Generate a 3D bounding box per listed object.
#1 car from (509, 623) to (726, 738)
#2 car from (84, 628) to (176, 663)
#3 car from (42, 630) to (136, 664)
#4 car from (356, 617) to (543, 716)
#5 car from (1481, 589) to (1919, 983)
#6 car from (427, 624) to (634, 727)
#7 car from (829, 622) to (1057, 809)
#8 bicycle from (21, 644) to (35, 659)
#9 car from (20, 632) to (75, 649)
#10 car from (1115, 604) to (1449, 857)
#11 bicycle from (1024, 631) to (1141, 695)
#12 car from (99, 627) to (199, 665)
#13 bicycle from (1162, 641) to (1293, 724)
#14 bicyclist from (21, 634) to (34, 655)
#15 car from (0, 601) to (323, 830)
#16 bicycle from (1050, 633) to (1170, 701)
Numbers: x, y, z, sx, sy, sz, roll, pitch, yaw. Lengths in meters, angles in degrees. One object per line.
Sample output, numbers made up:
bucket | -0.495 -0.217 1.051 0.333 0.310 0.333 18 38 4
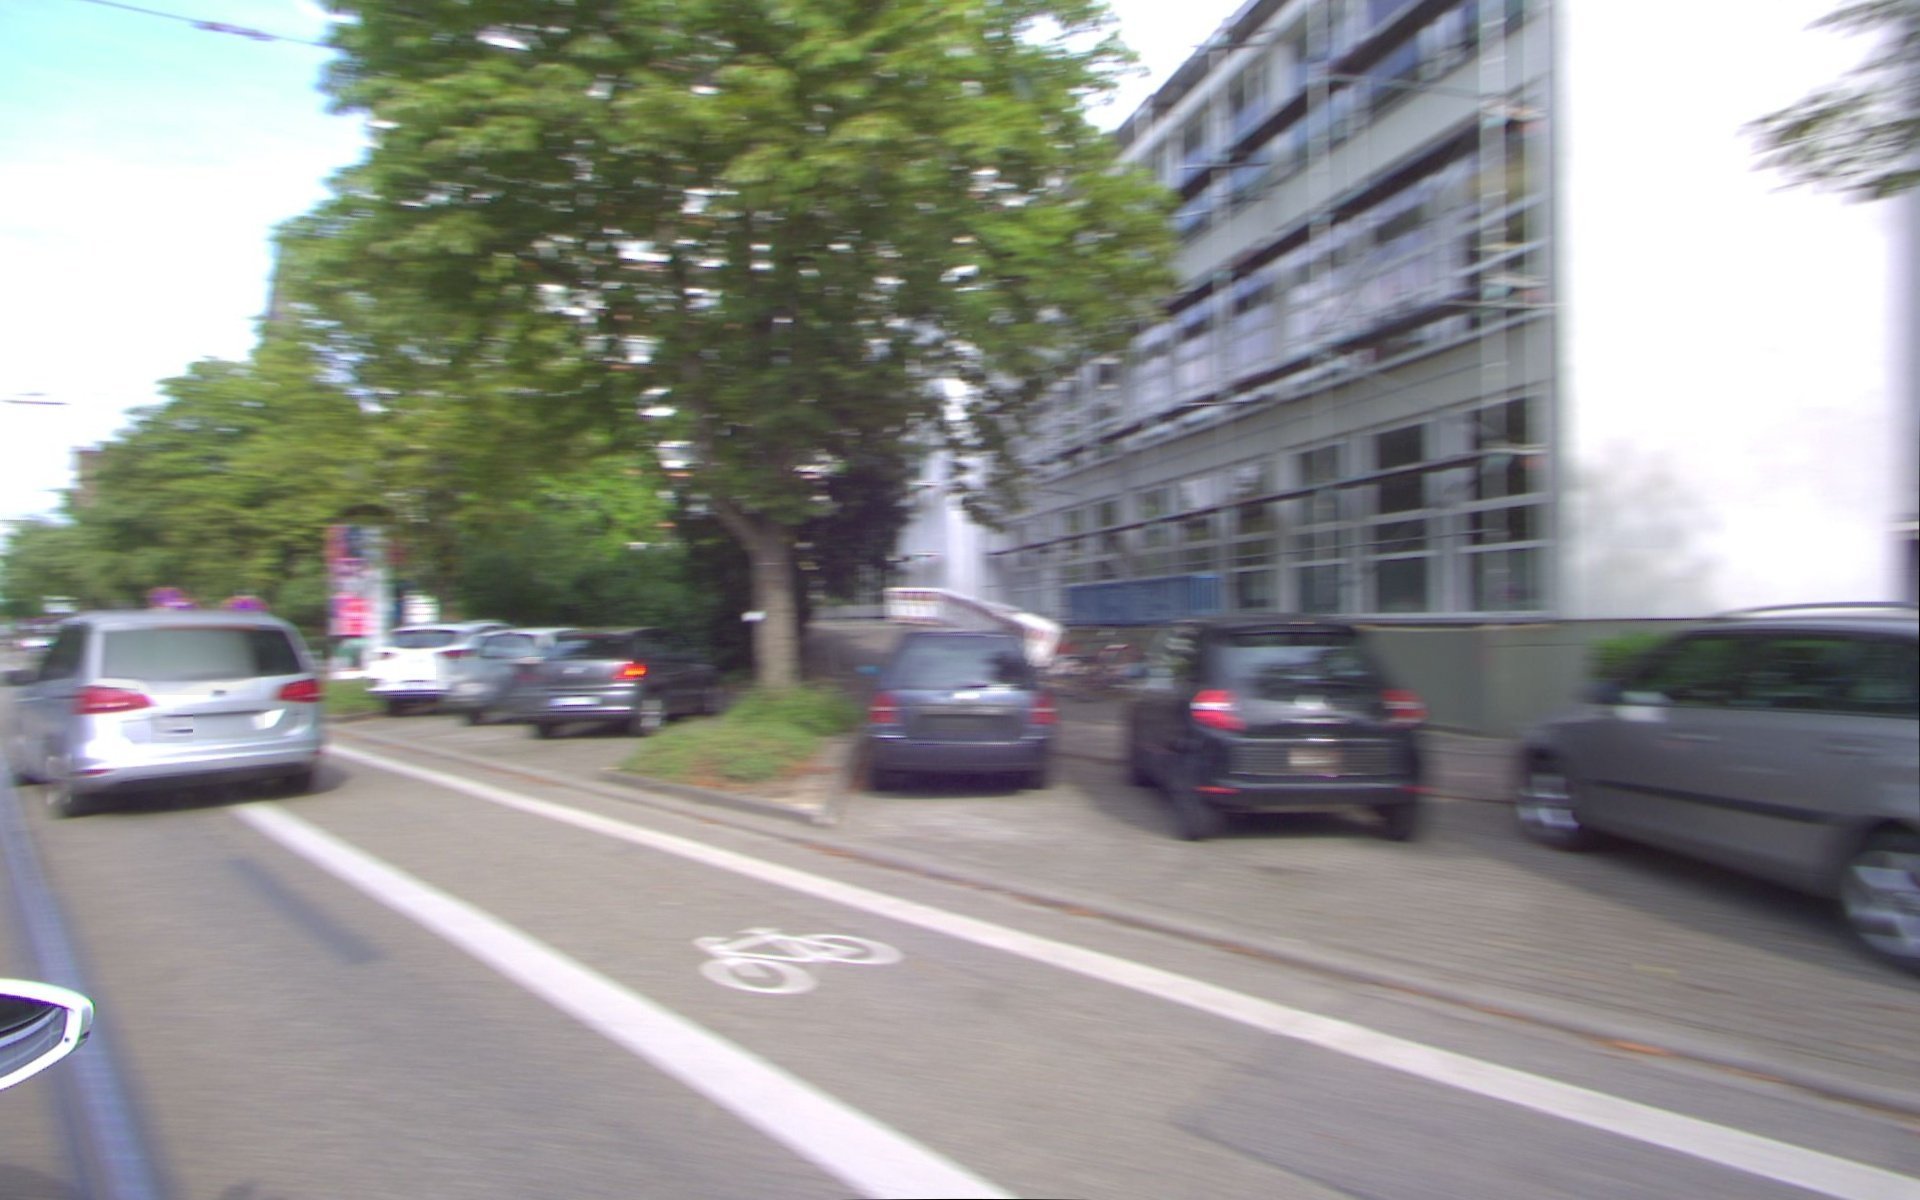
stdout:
car | -4.784 1.066 14.545 1.649 1.438 3.647 -1 -1 5
car | -41.783 2.266 50.532 1.649 1.623 3.647 -1 -1 -1
car | -44.259 2.346 50.995 1.649 1.623 3.647 -1 -1 -1
car | -9.320 1.163 18.620 1.649 1.623 3.647 -1 -1 -1
car | 4.537 0.756 5.060 1.564 1.557 4.054 -1 -1 -2
car | -7.001 1.170 16.733 1.649 1.493 3.647 -1 -1 5
car | -0.221 0.964 10.036 1.781 1.433 4.171 -1 -1 -3
bicycle | -66.645 3.667 71.586 1.956 1.057 0.589 -2 -1 42
car | -94.961 4.183 104.261 1.976 1.715 3.971 -1 -1 38
car | 2.264 0.845 7.940 1.564 1.557 3.418 -1 -1 1
bicycle | 2.145 1.091 17.610 1.940 1.057 0.594 -1 0 -9
car | -36.992 2.068 45.811 1.649 1.623 3.647 -1 -1 -1
bicycle | 3.778 1.138 14.135 1.808 1.057 0.453 -2 0 -17
bicyclist | -66.649 3.211 71.591 0.865 1.478 0.589 -1 0 42
car | -7.983 0.925 9.692 4.563 1.723 1.804 -2 -1 40
bicycle | 2.517 1.107 16.787 1.943 1.057 0.593 0 0 -19
